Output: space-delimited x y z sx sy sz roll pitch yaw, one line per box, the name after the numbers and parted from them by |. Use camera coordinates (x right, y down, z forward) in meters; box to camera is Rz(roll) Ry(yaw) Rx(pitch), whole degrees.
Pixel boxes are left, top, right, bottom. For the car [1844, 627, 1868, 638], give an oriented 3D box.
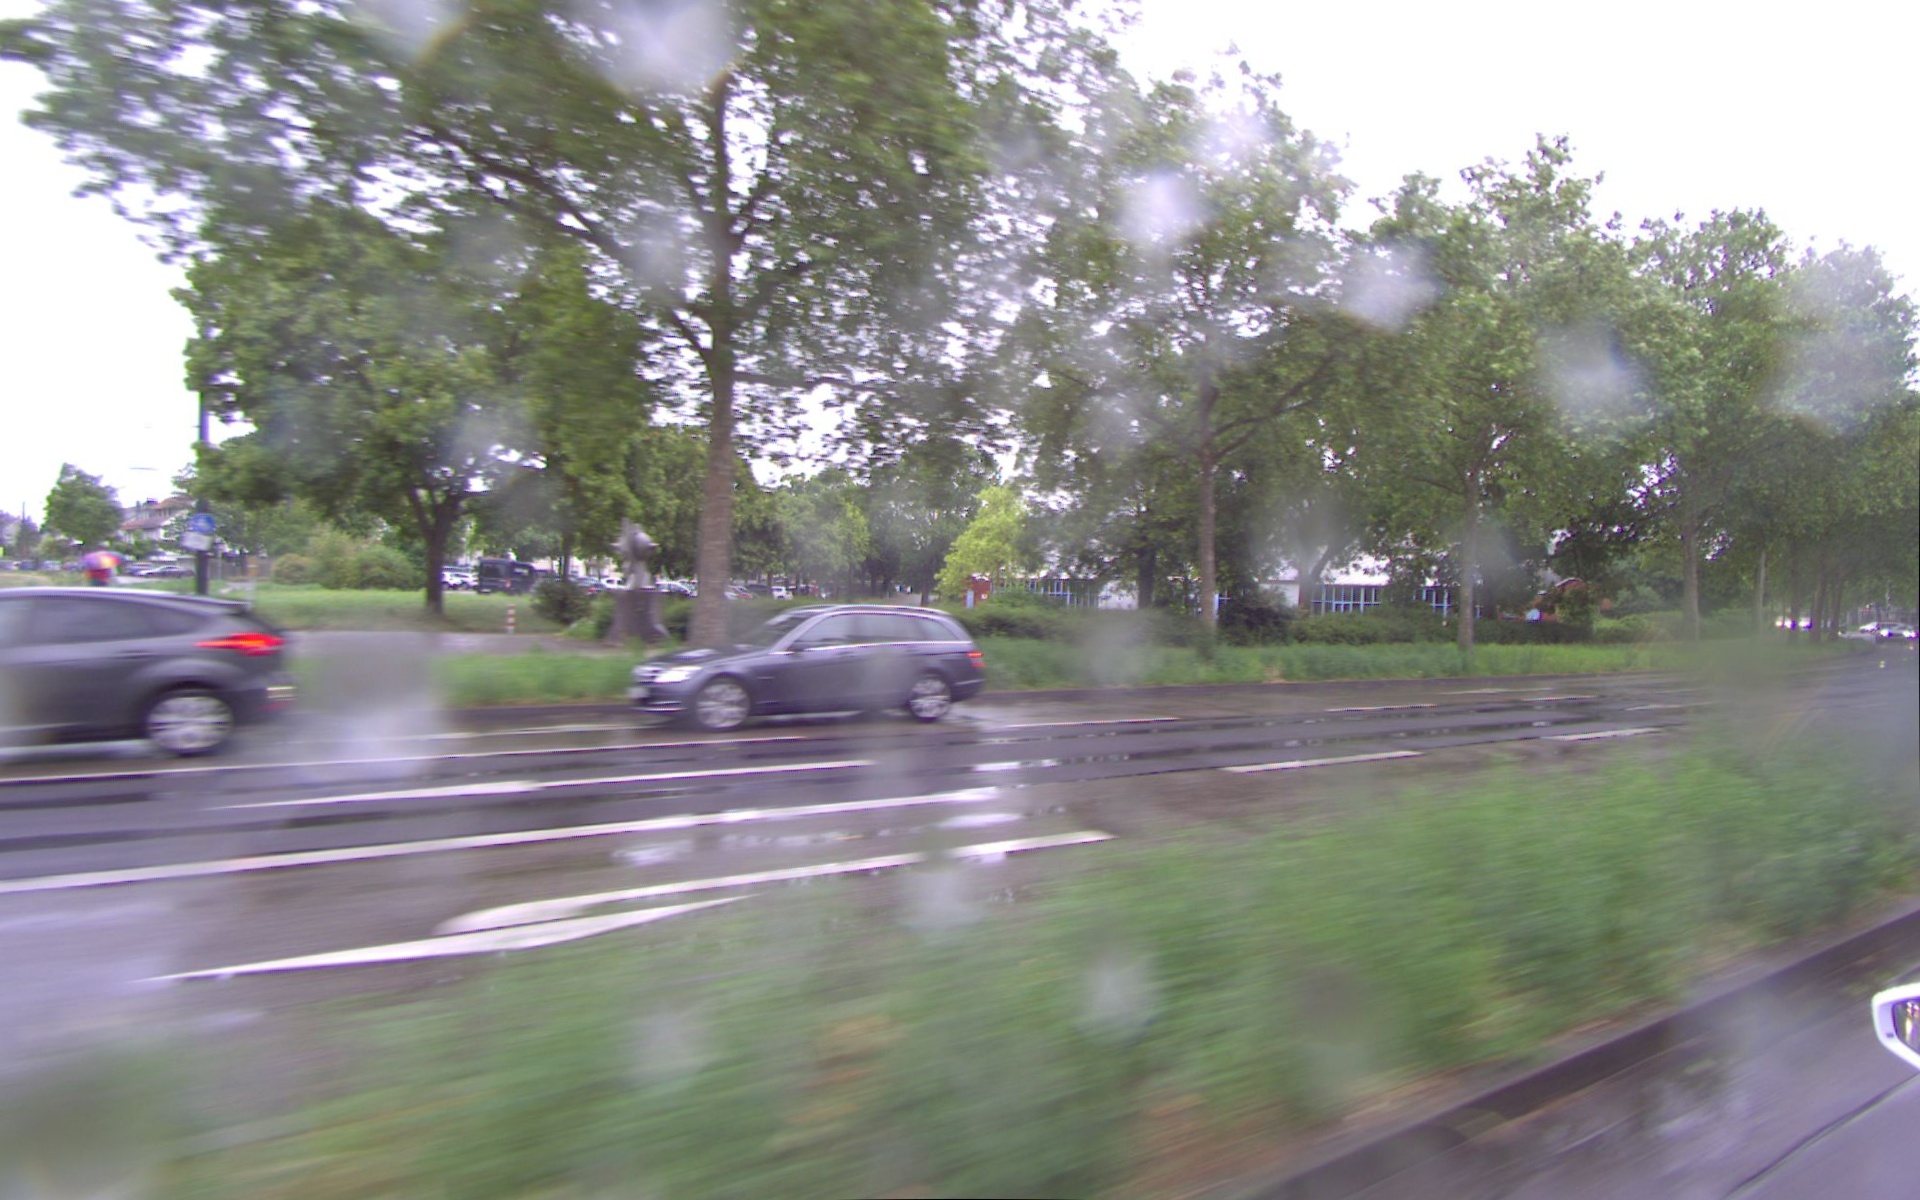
122.516 4.421 137.351 1.737 1.243 3.775 1 1 30 | car

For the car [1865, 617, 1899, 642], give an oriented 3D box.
83.588 2.624 91.077 1.957 2.041 3.982 2 2 39 | car

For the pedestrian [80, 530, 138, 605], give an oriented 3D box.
-23.284 -0.885 27.508 0.940 2.017 1.002 0 2 -24 | pedestrian

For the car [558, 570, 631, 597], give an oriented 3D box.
-22.410 -1.032 61.812 2.020 1.594 5.018 1 1 9 | car

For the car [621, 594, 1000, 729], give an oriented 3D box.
-1.826 0.768 12.801 4.411 1.425 1.789 3 0 -32 | car

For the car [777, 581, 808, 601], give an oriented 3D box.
-15.077 -0.794 90.480 2.143 1.721 4.087 1 1 -1 | car

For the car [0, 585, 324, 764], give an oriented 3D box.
-8.119 0.596 8.713 4.273 1.420 1.786 2 -1 -36 | car

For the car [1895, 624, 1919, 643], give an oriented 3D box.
95.340 3.378 100.597 1.968 1.740 3.985 2 2 37 | car

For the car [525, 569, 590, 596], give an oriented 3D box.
-24.705 -1.075 61.841 1.721 1.551 4.850 1 1 4 | car

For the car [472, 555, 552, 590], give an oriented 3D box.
-27.232 -1.655 61.233 2.266 2.041 5.119 1 1 4 | car

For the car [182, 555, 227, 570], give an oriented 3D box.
-92.221 -4.562 122.629 1.862 1.826 3.986 1 1 35 | car

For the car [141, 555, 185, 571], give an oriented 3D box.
-97.824 -4.556 123.298 1.790 1.826 3.868 1 1 37 | car
